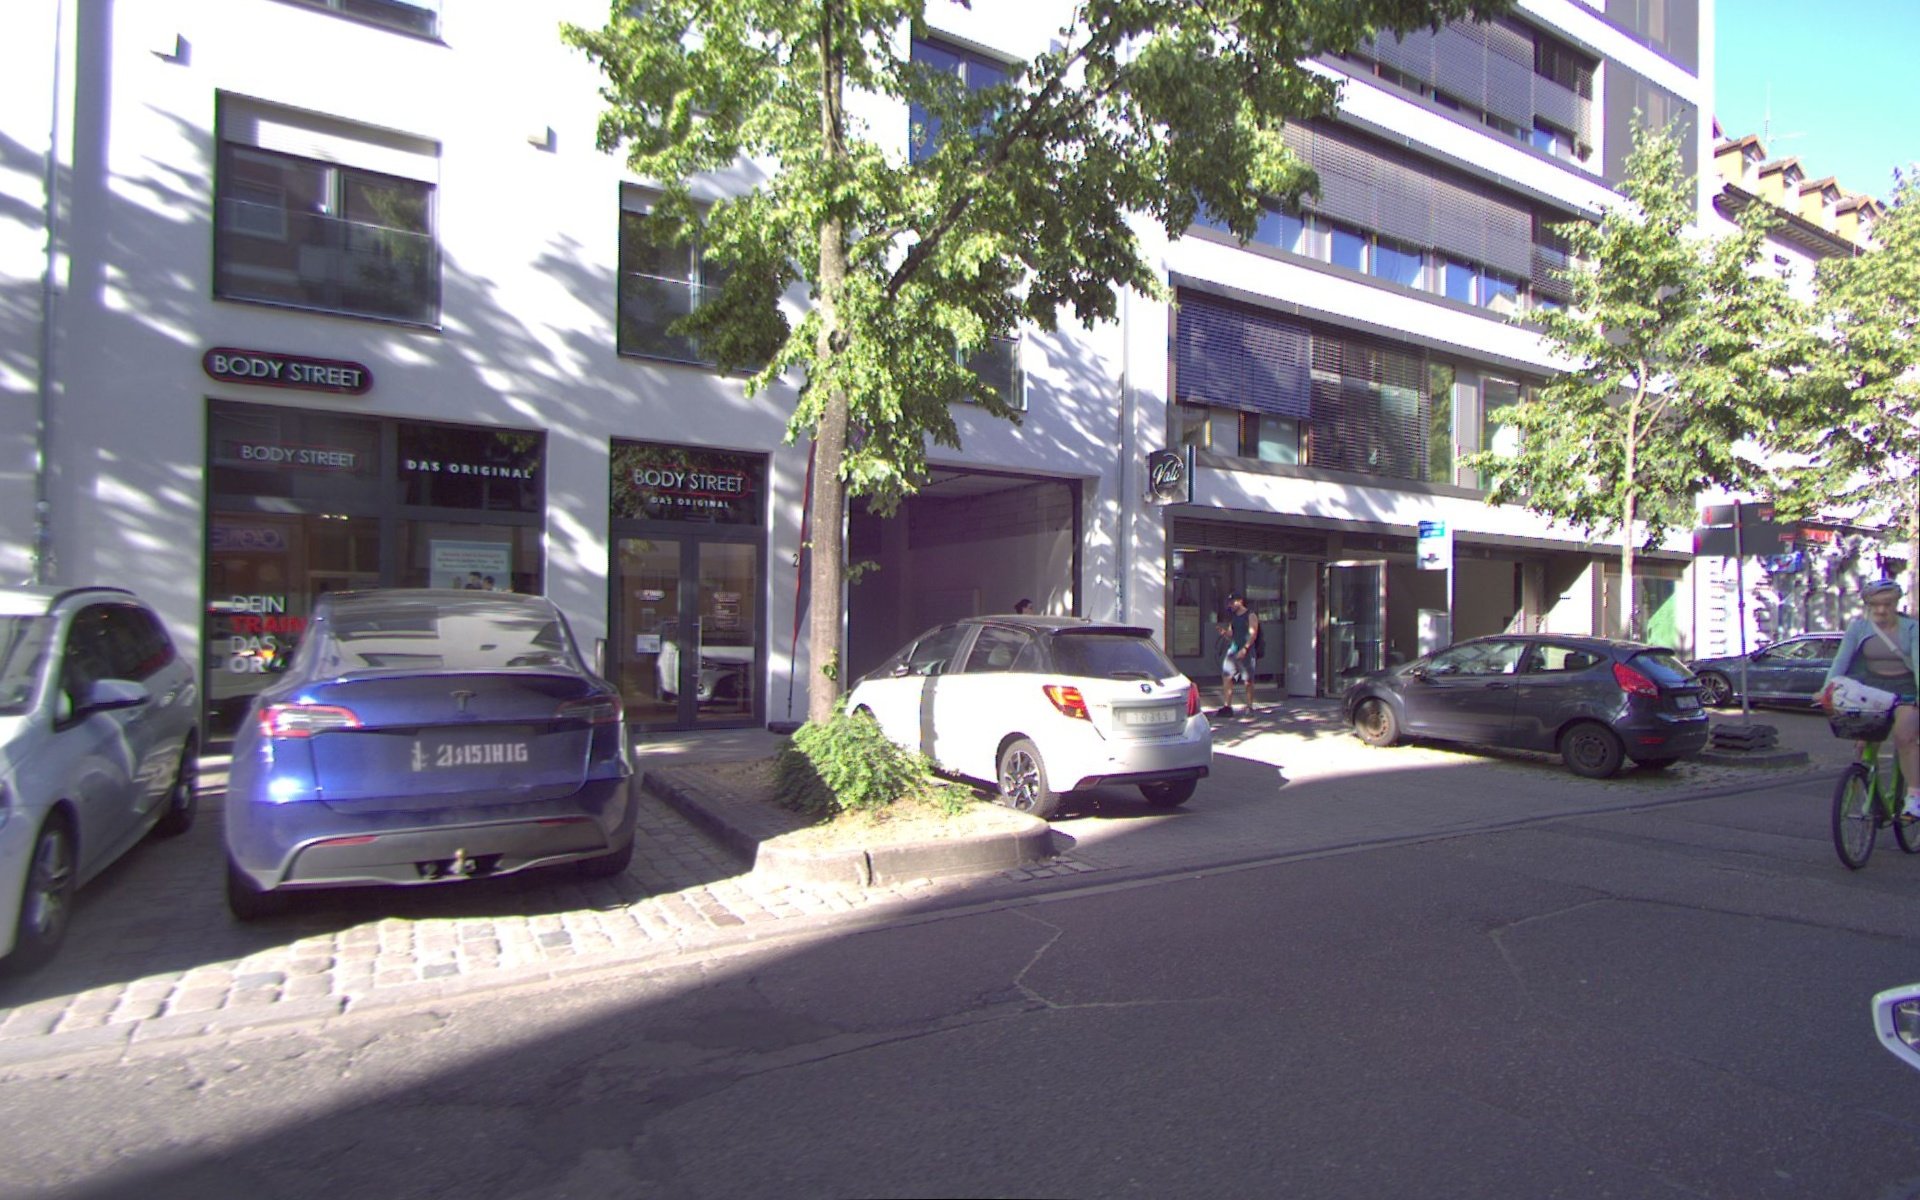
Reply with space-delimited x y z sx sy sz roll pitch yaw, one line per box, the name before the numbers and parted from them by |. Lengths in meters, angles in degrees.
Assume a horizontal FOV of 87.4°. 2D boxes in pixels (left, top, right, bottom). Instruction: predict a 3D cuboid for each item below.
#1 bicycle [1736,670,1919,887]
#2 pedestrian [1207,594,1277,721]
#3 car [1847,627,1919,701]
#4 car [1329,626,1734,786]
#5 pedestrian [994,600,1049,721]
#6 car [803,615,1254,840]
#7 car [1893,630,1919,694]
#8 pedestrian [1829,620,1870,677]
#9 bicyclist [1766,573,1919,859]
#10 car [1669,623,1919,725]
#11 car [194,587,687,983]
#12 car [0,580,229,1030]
bicycle | 6.119 1.099 6.712 2.171 1.184 0.722 1 -1 -30
pedestrian | 4.188 0.836 14.932 0.733 1.821 0.699 1 0 -19
car | 21.072 1.372 20.659 1.749 1.505 3.903 1 0 -28
car | 6.504 1.080 11.771 1.764 1.478 3.753 1 -1 -37
pedestrian | 0.908 0.882 14.875 0.731 1.758 0.647 1 0 -3
car | 0.347 0.905 9.129 1.959 1.478 4.220 1 -1 -33
car | 23.369 1.452 22.079 1.767 1.448 3.825 1 0 -28
pedestrian | 22.924 1.237 25.897 0.814 1.427 0.506 0 1 -26
bicyclist | 6.087 0.709 6.689 1.267 1.723 0.722 1 -1 -30
car | 15.415 1.244 17.656 1.770 1.478 4.469 1 1 -31
car | -3.277 0.767 6.436 1.956 1.591 4.347 1 -1 -29
car | -5.186 0.717 5.030 1.923 1.591 4.347 1 -1 -29
